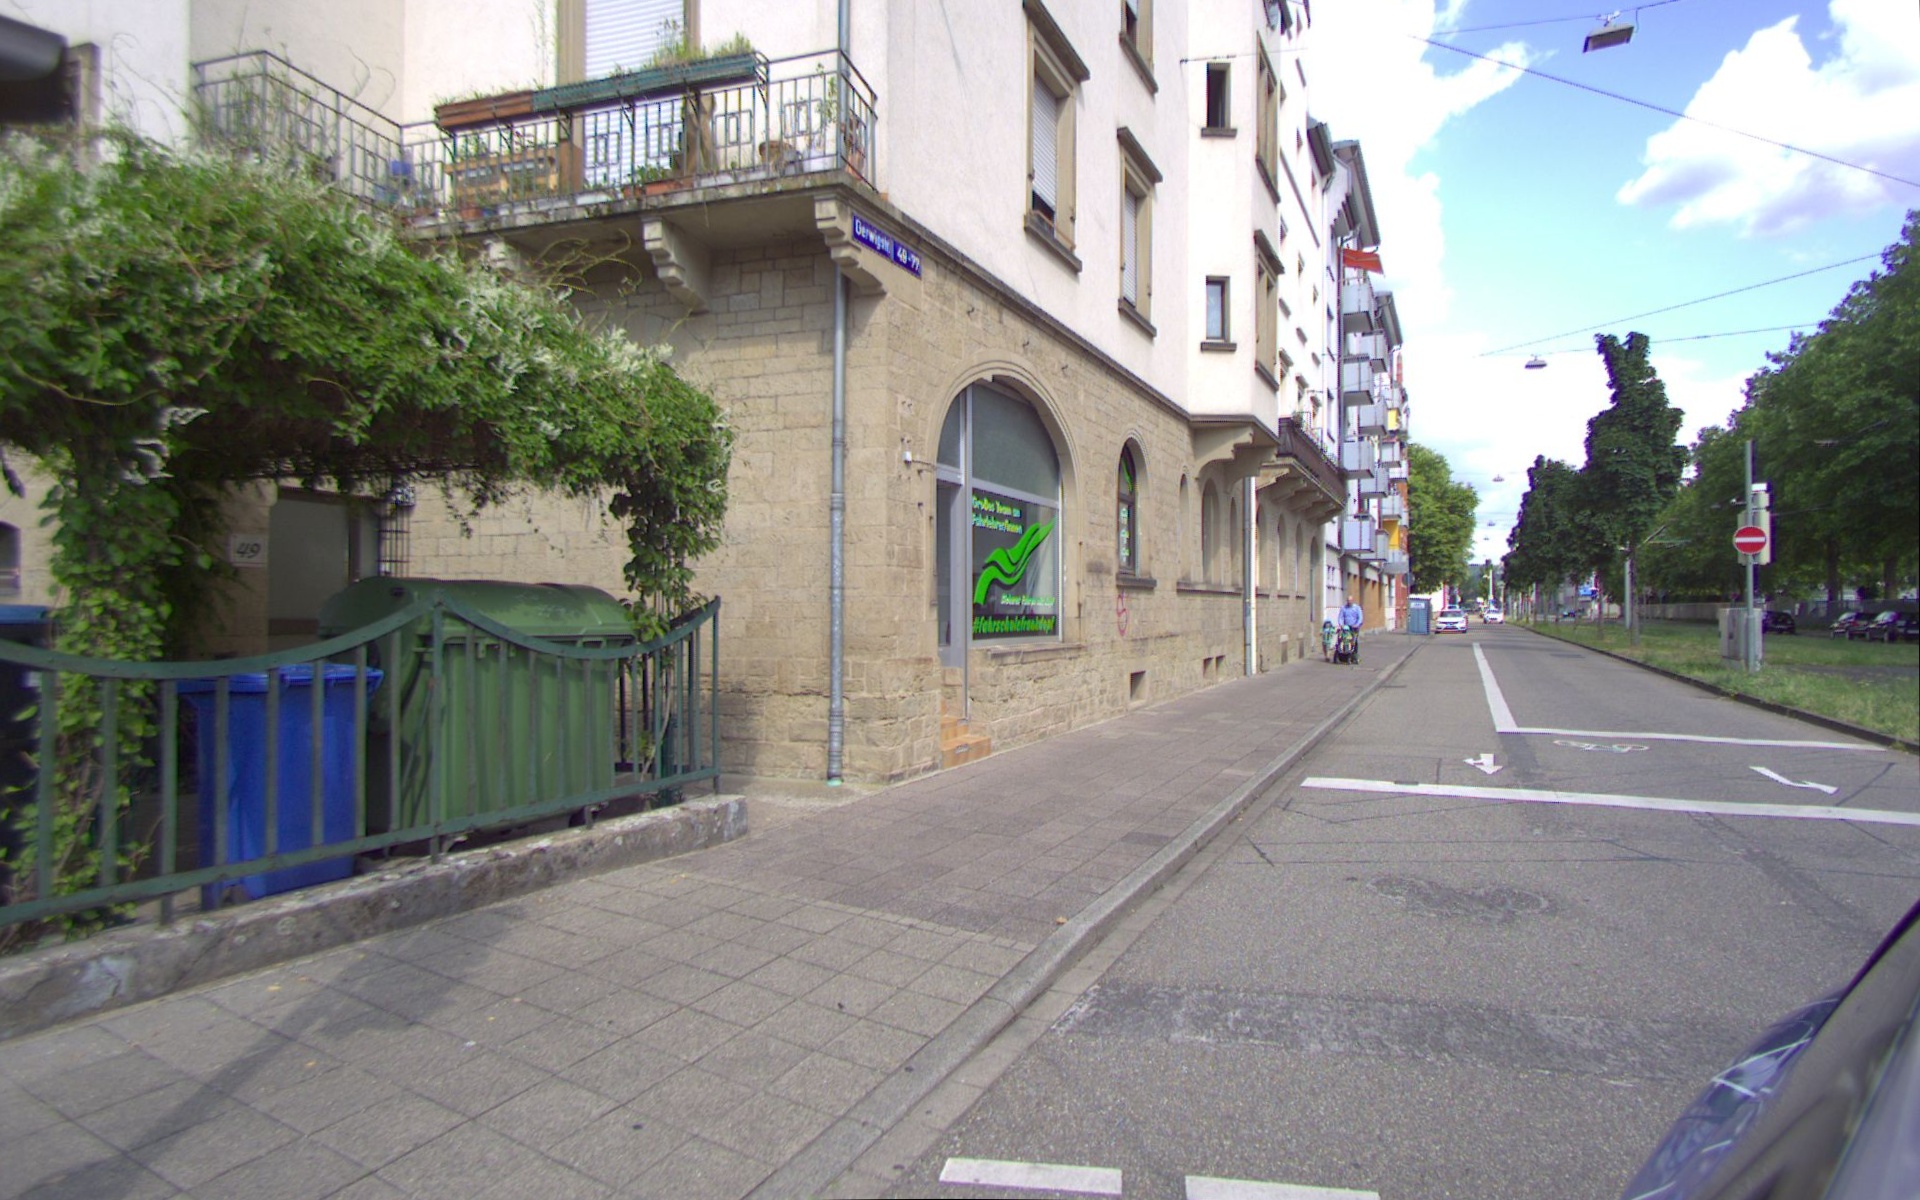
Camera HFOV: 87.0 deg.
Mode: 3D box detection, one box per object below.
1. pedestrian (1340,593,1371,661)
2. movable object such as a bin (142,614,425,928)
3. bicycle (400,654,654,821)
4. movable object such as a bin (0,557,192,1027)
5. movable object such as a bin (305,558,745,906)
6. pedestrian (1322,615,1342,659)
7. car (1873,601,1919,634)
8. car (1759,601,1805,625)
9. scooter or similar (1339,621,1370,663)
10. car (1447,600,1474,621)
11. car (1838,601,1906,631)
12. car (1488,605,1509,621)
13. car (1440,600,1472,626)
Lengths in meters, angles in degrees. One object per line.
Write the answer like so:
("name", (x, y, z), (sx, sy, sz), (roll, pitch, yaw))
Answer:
("pedestrian", (10.564, 0.701, 27.010), (0.617, 1.760, 0.868), (3, 1, 28))
("movable object such as a bin", (-2.980, 0.670, 4.465), (1.022, 1.189, 0.652), (1, 0, 30))
("bicycle", (-3.102, 0.937, 7.225), (1.824, 1.013, 0.508), (1, 0, 21))
("movable object such as a bin", (-3.347, 0.605, 3.410), (0.707, 1.490, 0.976), (0, 0, 19))
("movable object such as a bin", (-2.311, 0.586, 5.706), (1.044, 1.559, 2.078), (0, 0, 29))
("pedestrian", (9.976, 0.989, 27.149), (0.453, 1.149, 0.489), (0, -1, 28))
("car", (43.272, 0.783, 46.028), (1.793, 1.471, 3.957), (0, 0, 30))
("car", (52.683, 0.827, 64.919), (1.588, 1.483, 3.959), (0, 0, 29))
("scooter or similar", (10.265, 1.073, 26.343), (0.589, 1.014, 0.896), (4, 1, 28))
("car", (38.472, 0.780, 77.816), (1.785, 1.549, 4.002), (-1, -1, 27))
("car", (45.756, 0.783, 50.858), (1.544, 1.444, 3.864), (0, 0, 27))
("car", (55.943, 1.326, 105.119), (1.785, 1.549, 4.002), (-1, -1, 27))
("car", (31.280, 0.830, 63.788), (1.785, 1.549, 4.002), (-1, -1, 27))
